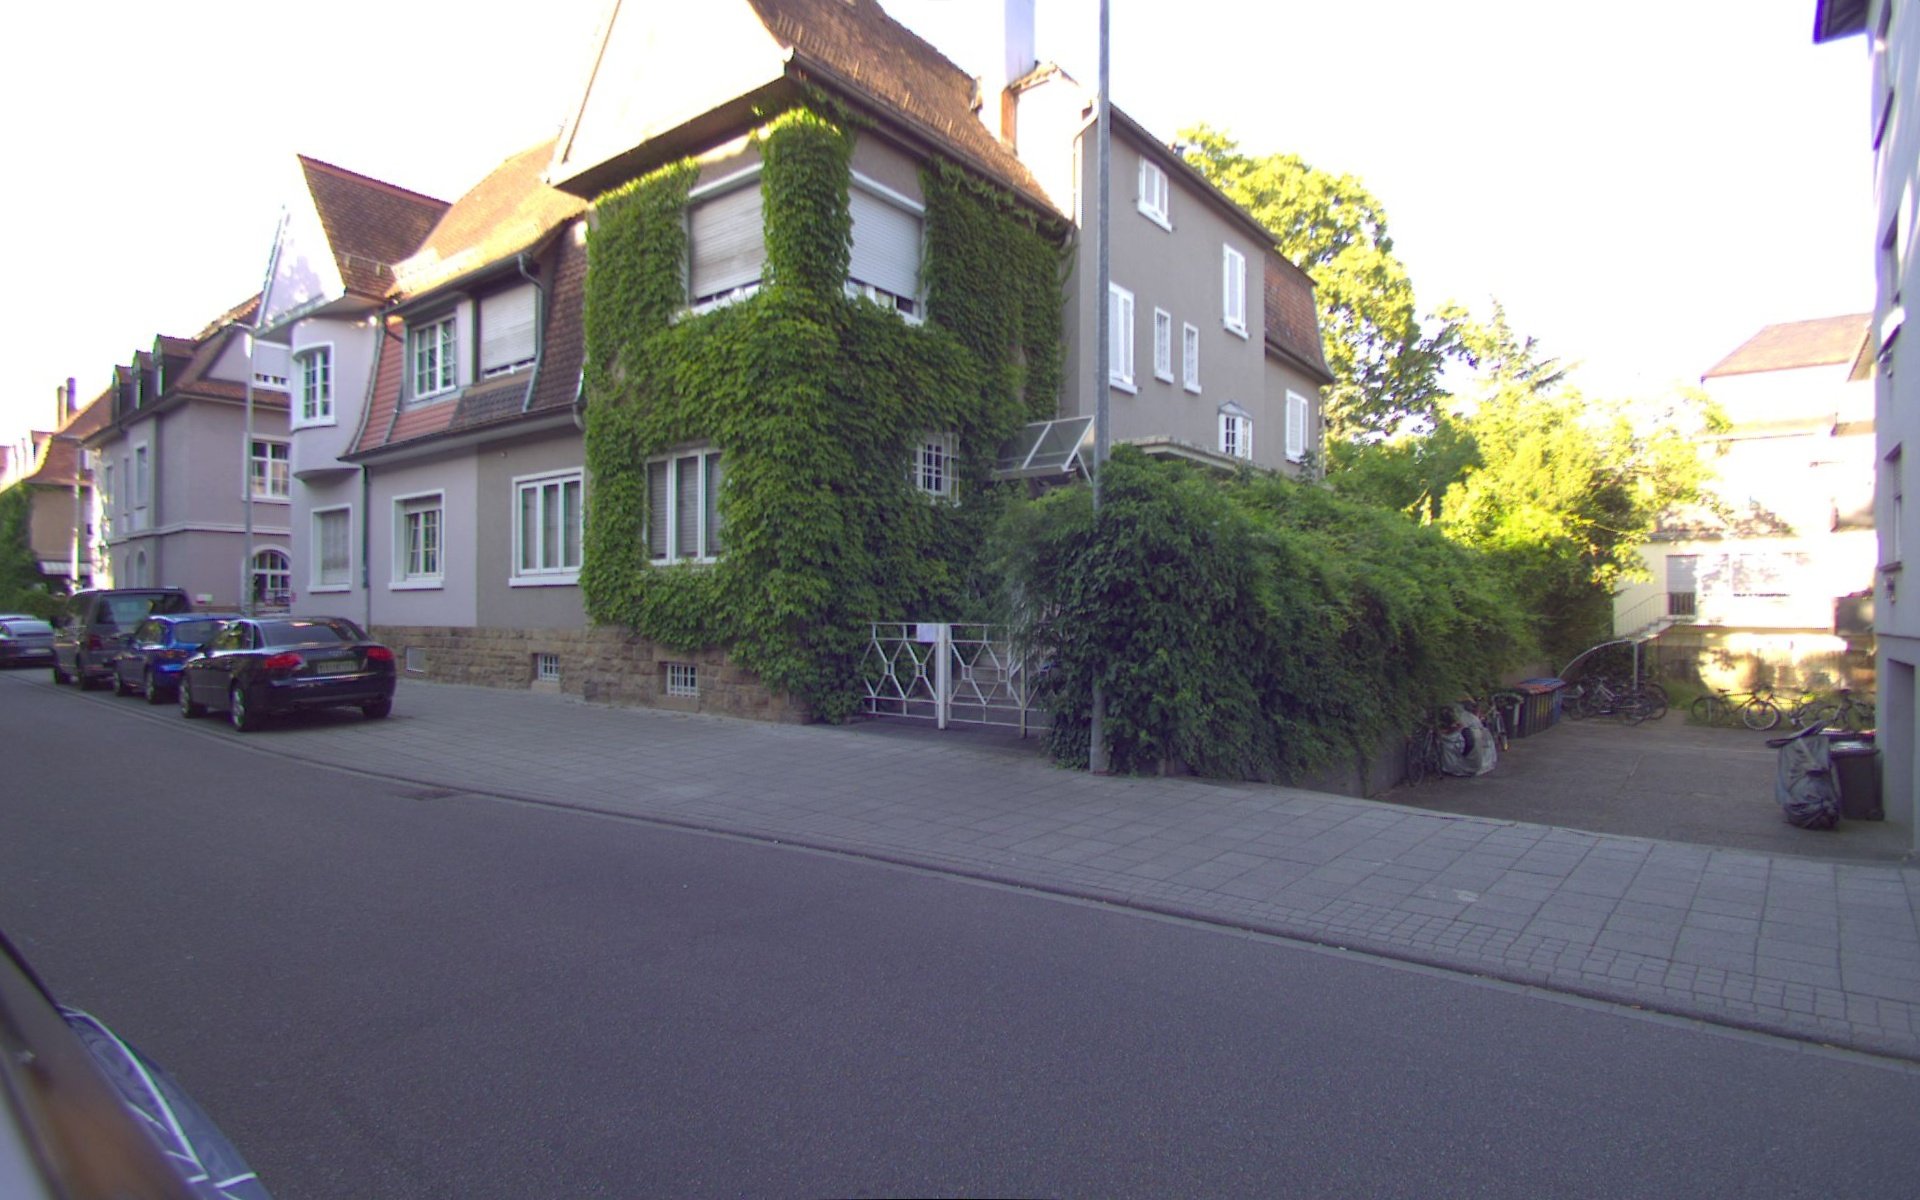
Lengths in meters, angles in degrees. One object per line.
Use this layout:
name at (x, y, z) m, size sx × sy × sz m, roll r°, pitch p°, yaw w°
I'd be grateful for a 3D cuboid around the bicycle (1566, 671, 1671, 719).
bicycle at (18.046, 2.586, 27.764) m, size 2.338 × 1.186 × 0.685 m, roll -1°, pitch -4°, yaw 42°

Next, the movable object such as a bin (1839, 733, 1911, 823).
movable object such as a bin at (11.706, 2.267, 12.967) m, size 0.611 × 1.045 × 0.532 m, roll -1°, pitch -4°, yaw 37°

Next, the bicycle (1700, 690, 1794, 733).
bicycle at (18.883, 2.664, 24.301) m, size 1.754 × 0.886 × 0.558 m, roll -1°, pitch -4°, yaw 42°

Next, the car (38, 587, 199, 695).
car at (-17.535, 0.789, 21.018) m, size 4.610 × 1.990 × 1.819 m, roll -1°, pitch 1°, yaw 41°

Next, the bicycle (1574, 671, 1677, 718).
bicycle at (18.605, 2.620, 28.333) m, size 2.338 × 1.186 × 0.685 m, roll -1°, pitch -4°, yaw 42°

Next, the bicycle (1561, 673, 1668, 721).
bicycle at (17.494, 2.567, 27.111) m, size 2.338 × 1.142 × 0.685 m, roll -1°, pitch -4°, yaw 42°

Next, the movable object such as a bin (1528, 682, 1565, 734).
movable object such as a bin at (13.168, 2.414, 22.717) m, size 0.611 × 1.123 × 0.792 m, roll -1°, pitch -4°, yaw 37°

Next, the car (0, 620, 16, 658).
car at (-36.334, 1.448, 37.512) m, size 3.676 × 1.372 × 1.641 m, roll -1°, pitch 1°, yaw 42°

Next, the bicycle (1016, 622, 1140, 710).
bicycle at (1.691, 0.889, 14.188) m, size 0.476 × 1.111 × 2.172 m, roll -1°, pitch -1°, yaw 45°

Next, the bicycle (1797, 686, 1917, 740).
bicycle at (20.360, 2.538, 23.027) m, size 2.005 × 1.080 × 0.558 m, roll -1°, pitch -4°, yaw 42°

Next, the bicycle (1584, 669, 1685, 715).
bicycle at (19.190, 2.600, 28.830) m, size 2.338 × 1.186 × 0.685 m, roll -1°, pitch -4°, yaw 42°

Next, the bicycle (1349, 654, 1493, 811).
bicycle at (6.814, 1.781, 14.754) m, size 0.971 × 1.907 × 4.138 m, roll -1°, pitch -3°, yaw 38°

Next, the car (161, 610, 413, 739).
car at (-9.419, 0.910, 14.027) m, size 4.426 × 1.457 × 1.783 m, roll -1°, pitch 1°, yaw 41°

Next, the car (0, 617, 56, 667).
car at (-30.183, 1.302, 32.034) m, size 4.061 × 1.478 × 1.907 m, roll -1°, pitch 1°, yaw 42°

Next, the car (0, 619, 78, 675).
car at (-26.169, 1.271, 28.300) m, size 4.063 × 1.394 × 1.906 m, roll -1°, pitch 1°, yaw 44°

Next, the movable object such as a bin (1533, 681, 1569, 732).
movable object such as a bin at (13.639, 2.447, 23.349) m, size 0.611 × 1.123 × 0.792 m, roll -1°, pitch -4°, yaw 37°

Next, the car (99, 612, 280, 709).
car at (-13.647, 0.982, 17.848) m, size 4.060 × 1.457 × 1.745 m, roll -1°, pitch 1°, yaw 41°

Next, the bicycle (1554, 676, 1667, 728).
bicycle at (16.230, 2.521, 25.303) m, size 2.294 × 1.142 × 0.685 m, roll -1°, pitch -4°, yaw 42°

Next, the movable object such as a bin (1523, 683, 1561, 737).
movable object such as a bin at (12.692, 2.378, 22.075) m, size 0.611 × 1.123 × 0.792 m, roll -1°, pitch -4°, yaw 37°

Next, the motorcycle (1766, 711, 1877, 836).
motorcycle at (10.697, 2.112, 12.626) m, size 0.742 × 1.305 × 1.565 m, roll -1°, pitch -2°, yaw 30°

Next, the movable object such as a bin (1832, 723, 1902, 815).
movable object such as a bin at (12.288, 2.272, 13.729) m, size 0.611 × 1.123 × 0.792 m, roll -1°, pitch -4°, yaw 37°
